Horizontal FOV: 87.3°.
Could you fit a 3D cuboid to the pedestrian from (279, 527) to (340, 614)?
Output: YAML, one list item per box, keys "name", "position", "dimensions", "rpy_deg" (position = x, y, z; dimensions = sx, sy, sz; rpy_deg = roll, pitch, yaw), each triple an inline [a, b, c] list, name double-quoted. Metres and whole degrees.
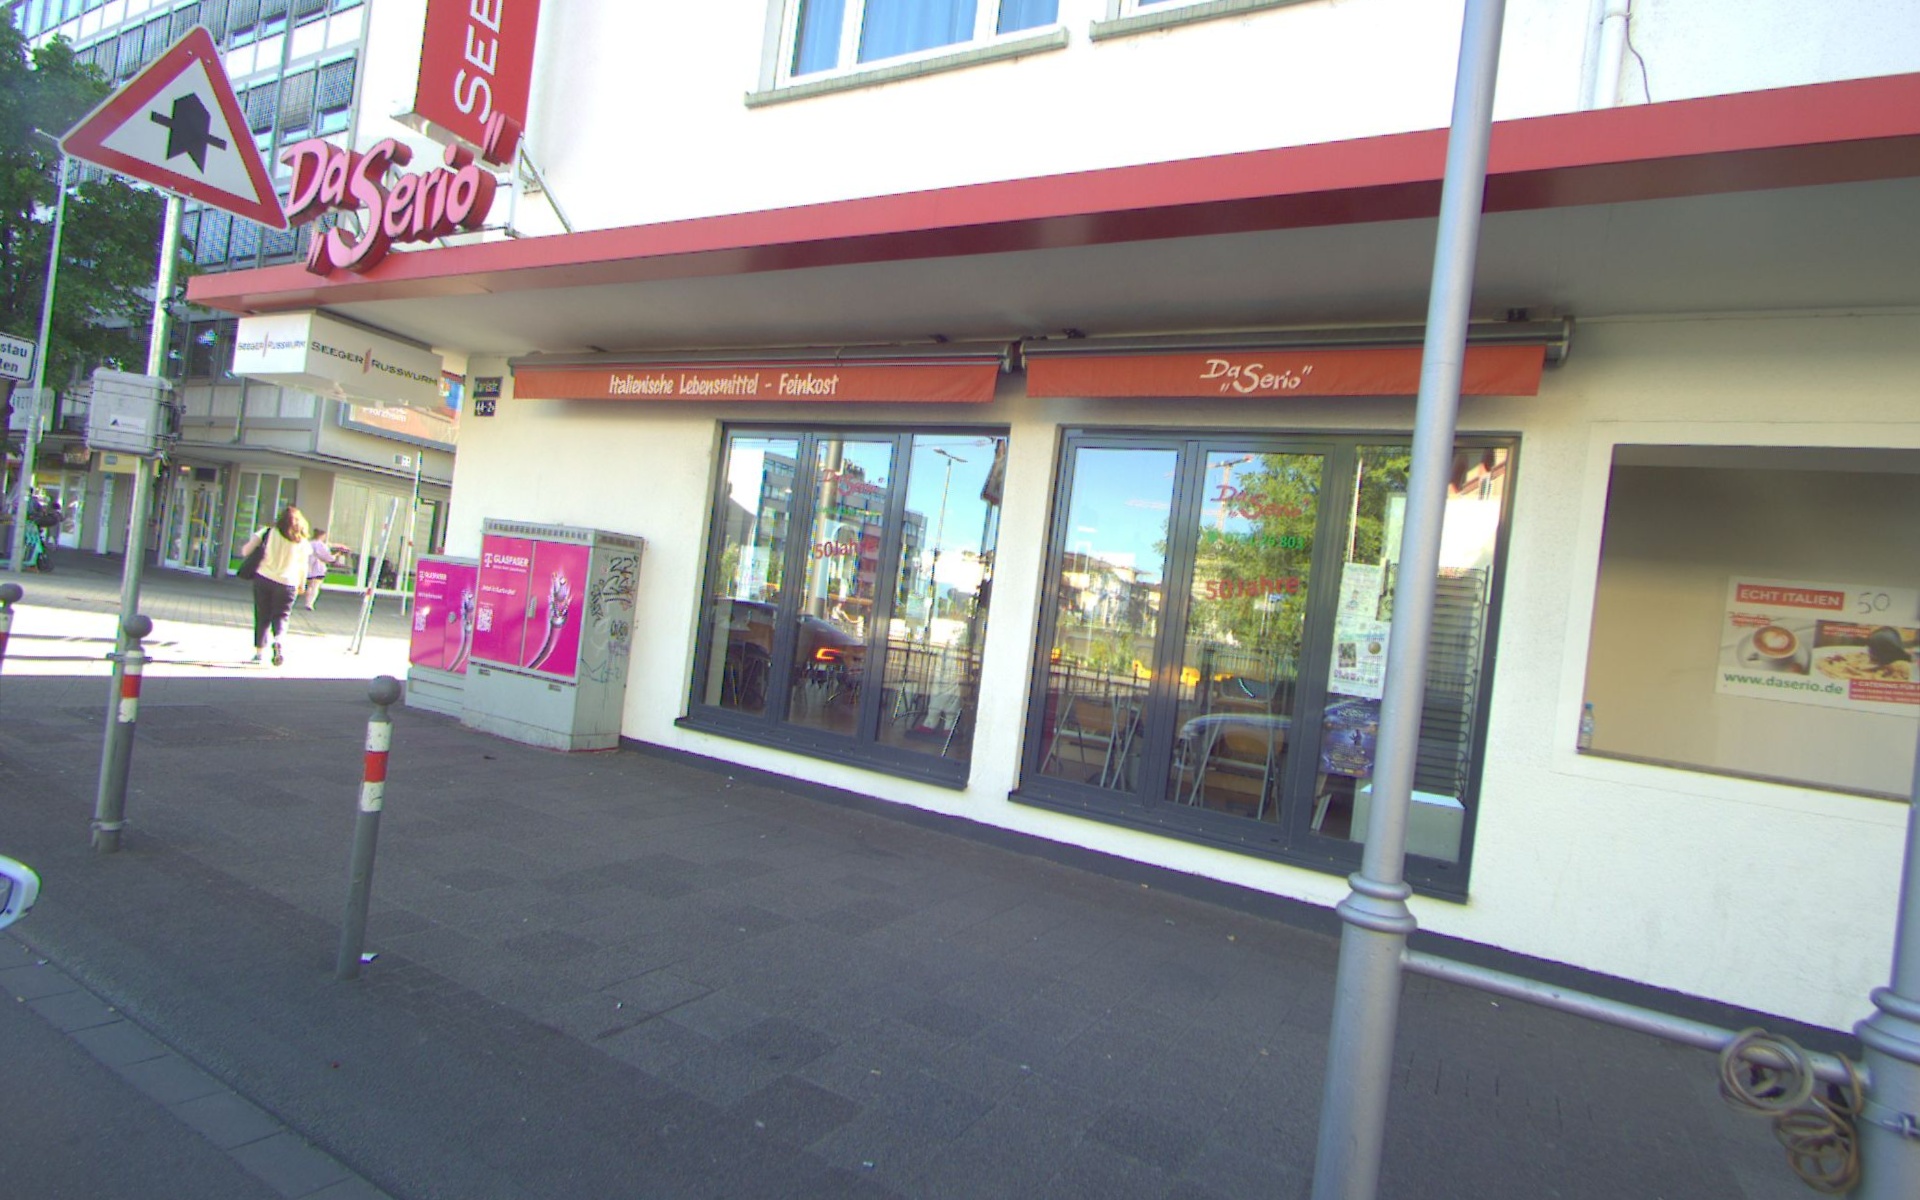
- name: "pedestrian"
  position: [-13.714, -0.627, 21.220]
  dimensions: [0.884, 1.687, 0.801]
  rpy_deg: [8, -1, -35]

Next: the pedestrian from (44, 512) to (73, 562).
- name: "pedestrian"
  position: [-26.081, -1.819, 29.098]
  dimensions: [0.504, 1.359, 0.390]
  rpy_deg: [6, -1, 34]

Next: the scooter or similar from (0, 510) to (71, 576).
- name: "scooter or similar"
  position: [-19.942, -1.234, 21.178]
  dimensions: [1.628, 1.229, 0.640]
  rpy_deg: [8, -1, -29]

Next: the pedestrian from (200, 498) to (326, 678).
- name: "pedestrian"
  position: [-7.536, -0.127, 10.906]
  dimensions: [0.909, 1.773, 1.029]
  rpy_deg: [7, 0, -35]

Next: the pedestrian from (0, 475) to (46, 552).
- name: "pedestrian"
  position: [-26.542, -2.443, 28.481]
  dimensions: [0.570, 2.037, 0.663]
  rpy_deg: [6, -1, 34]

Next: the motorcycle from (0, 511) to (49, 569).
- name: "motorcycle"
  position: [-21.571, -1.412, 22.408]
  dimensions: [0.532, 1.186, 1.711]
  rpy_deg: [7, -2, 30]
